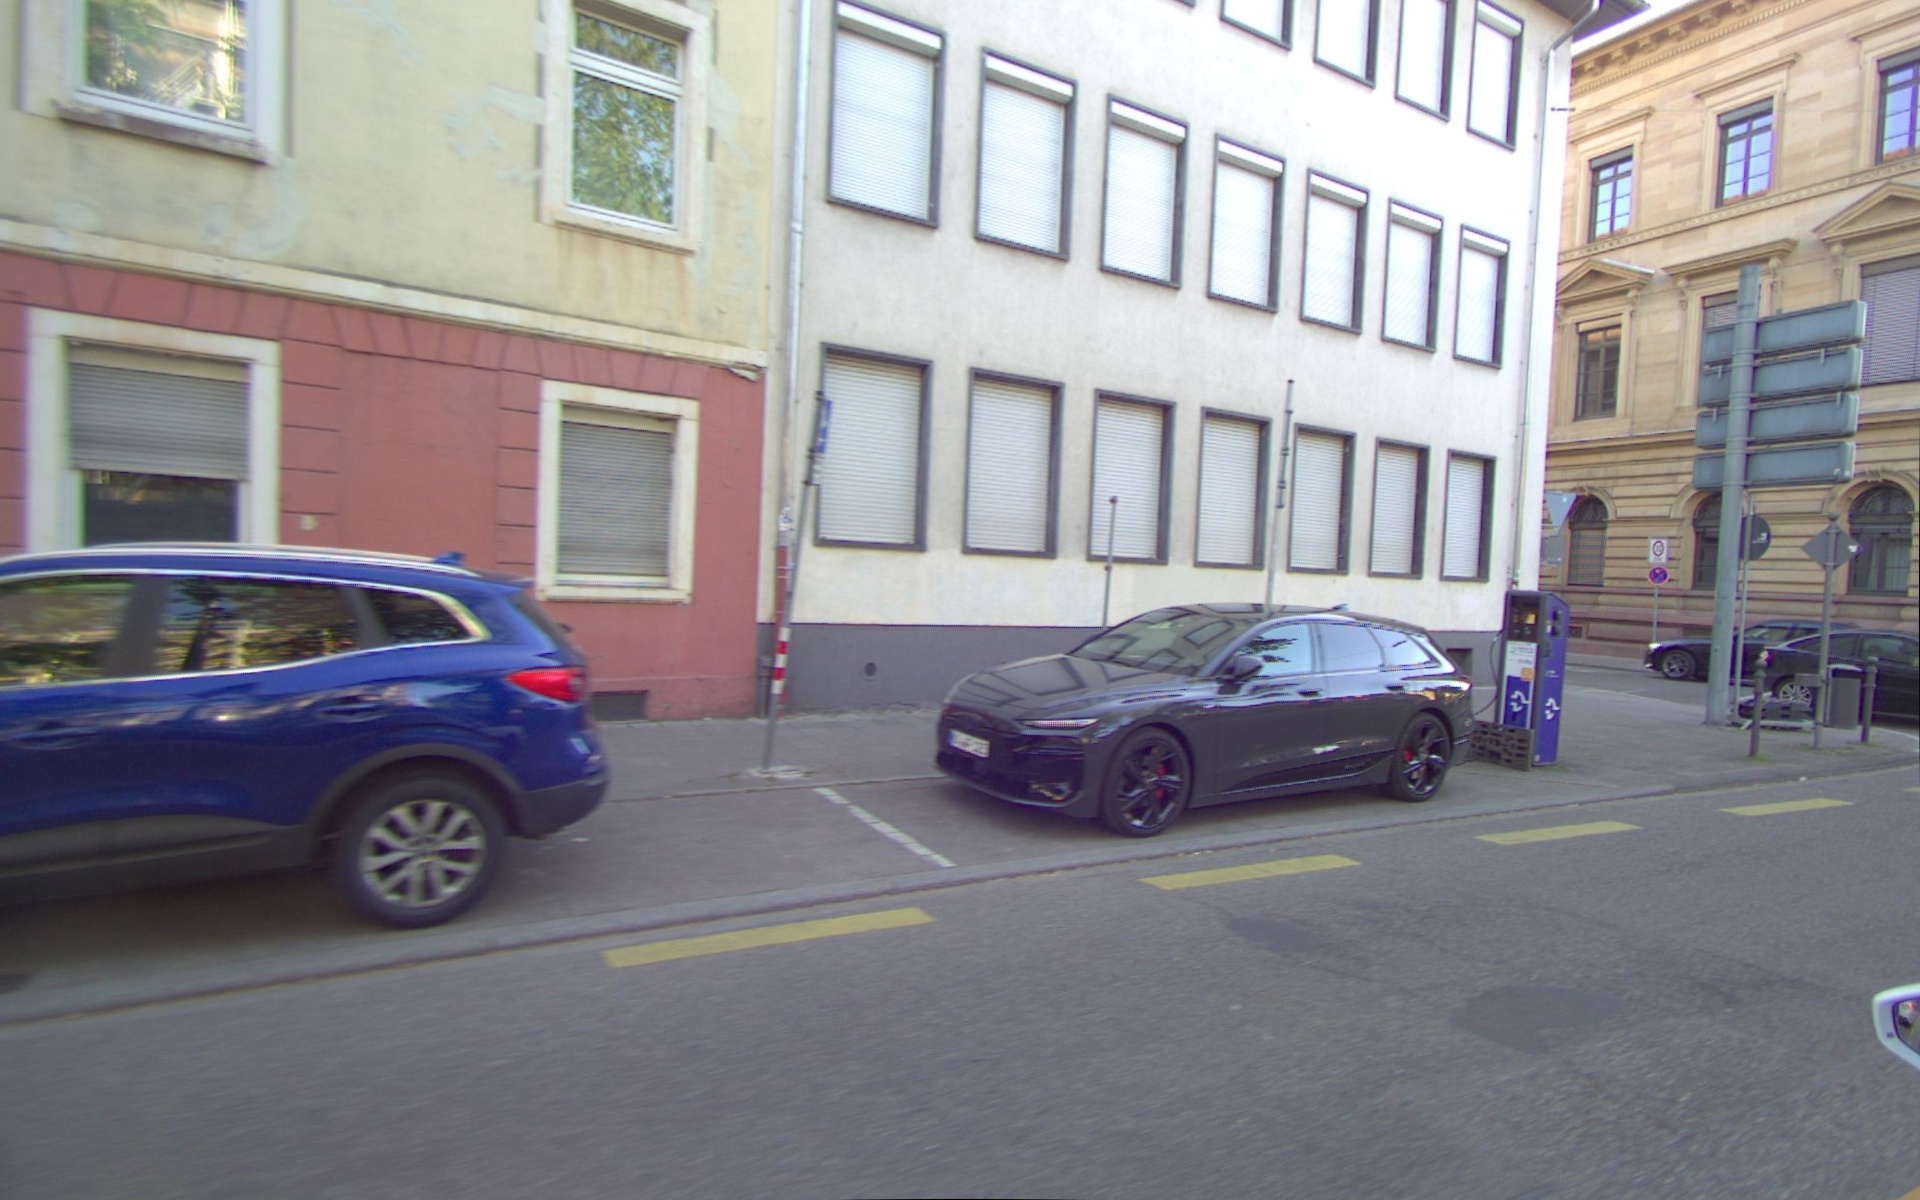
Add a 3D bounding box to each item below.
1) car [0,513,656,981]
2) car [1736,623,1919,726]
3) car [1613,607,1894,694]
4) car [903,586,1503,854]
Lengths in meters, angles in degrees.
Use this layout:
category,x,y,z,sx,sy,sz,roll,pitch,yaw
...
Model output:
category,x,y,z,sx,sy,sz,roll,pitch,yaw
car,-3.792,0.505,4.524,4.297,1.690,1.924,1,1,-31
car,14.732,1.151,15.301,1.749,1.408,4.306,1,1,-21
car,16.441,0.968,20.981,1.764,1.480,4.410,1,1,-44
car,2.066,0.758,8.023,4.706,1.524,1.814,1,3,-31
